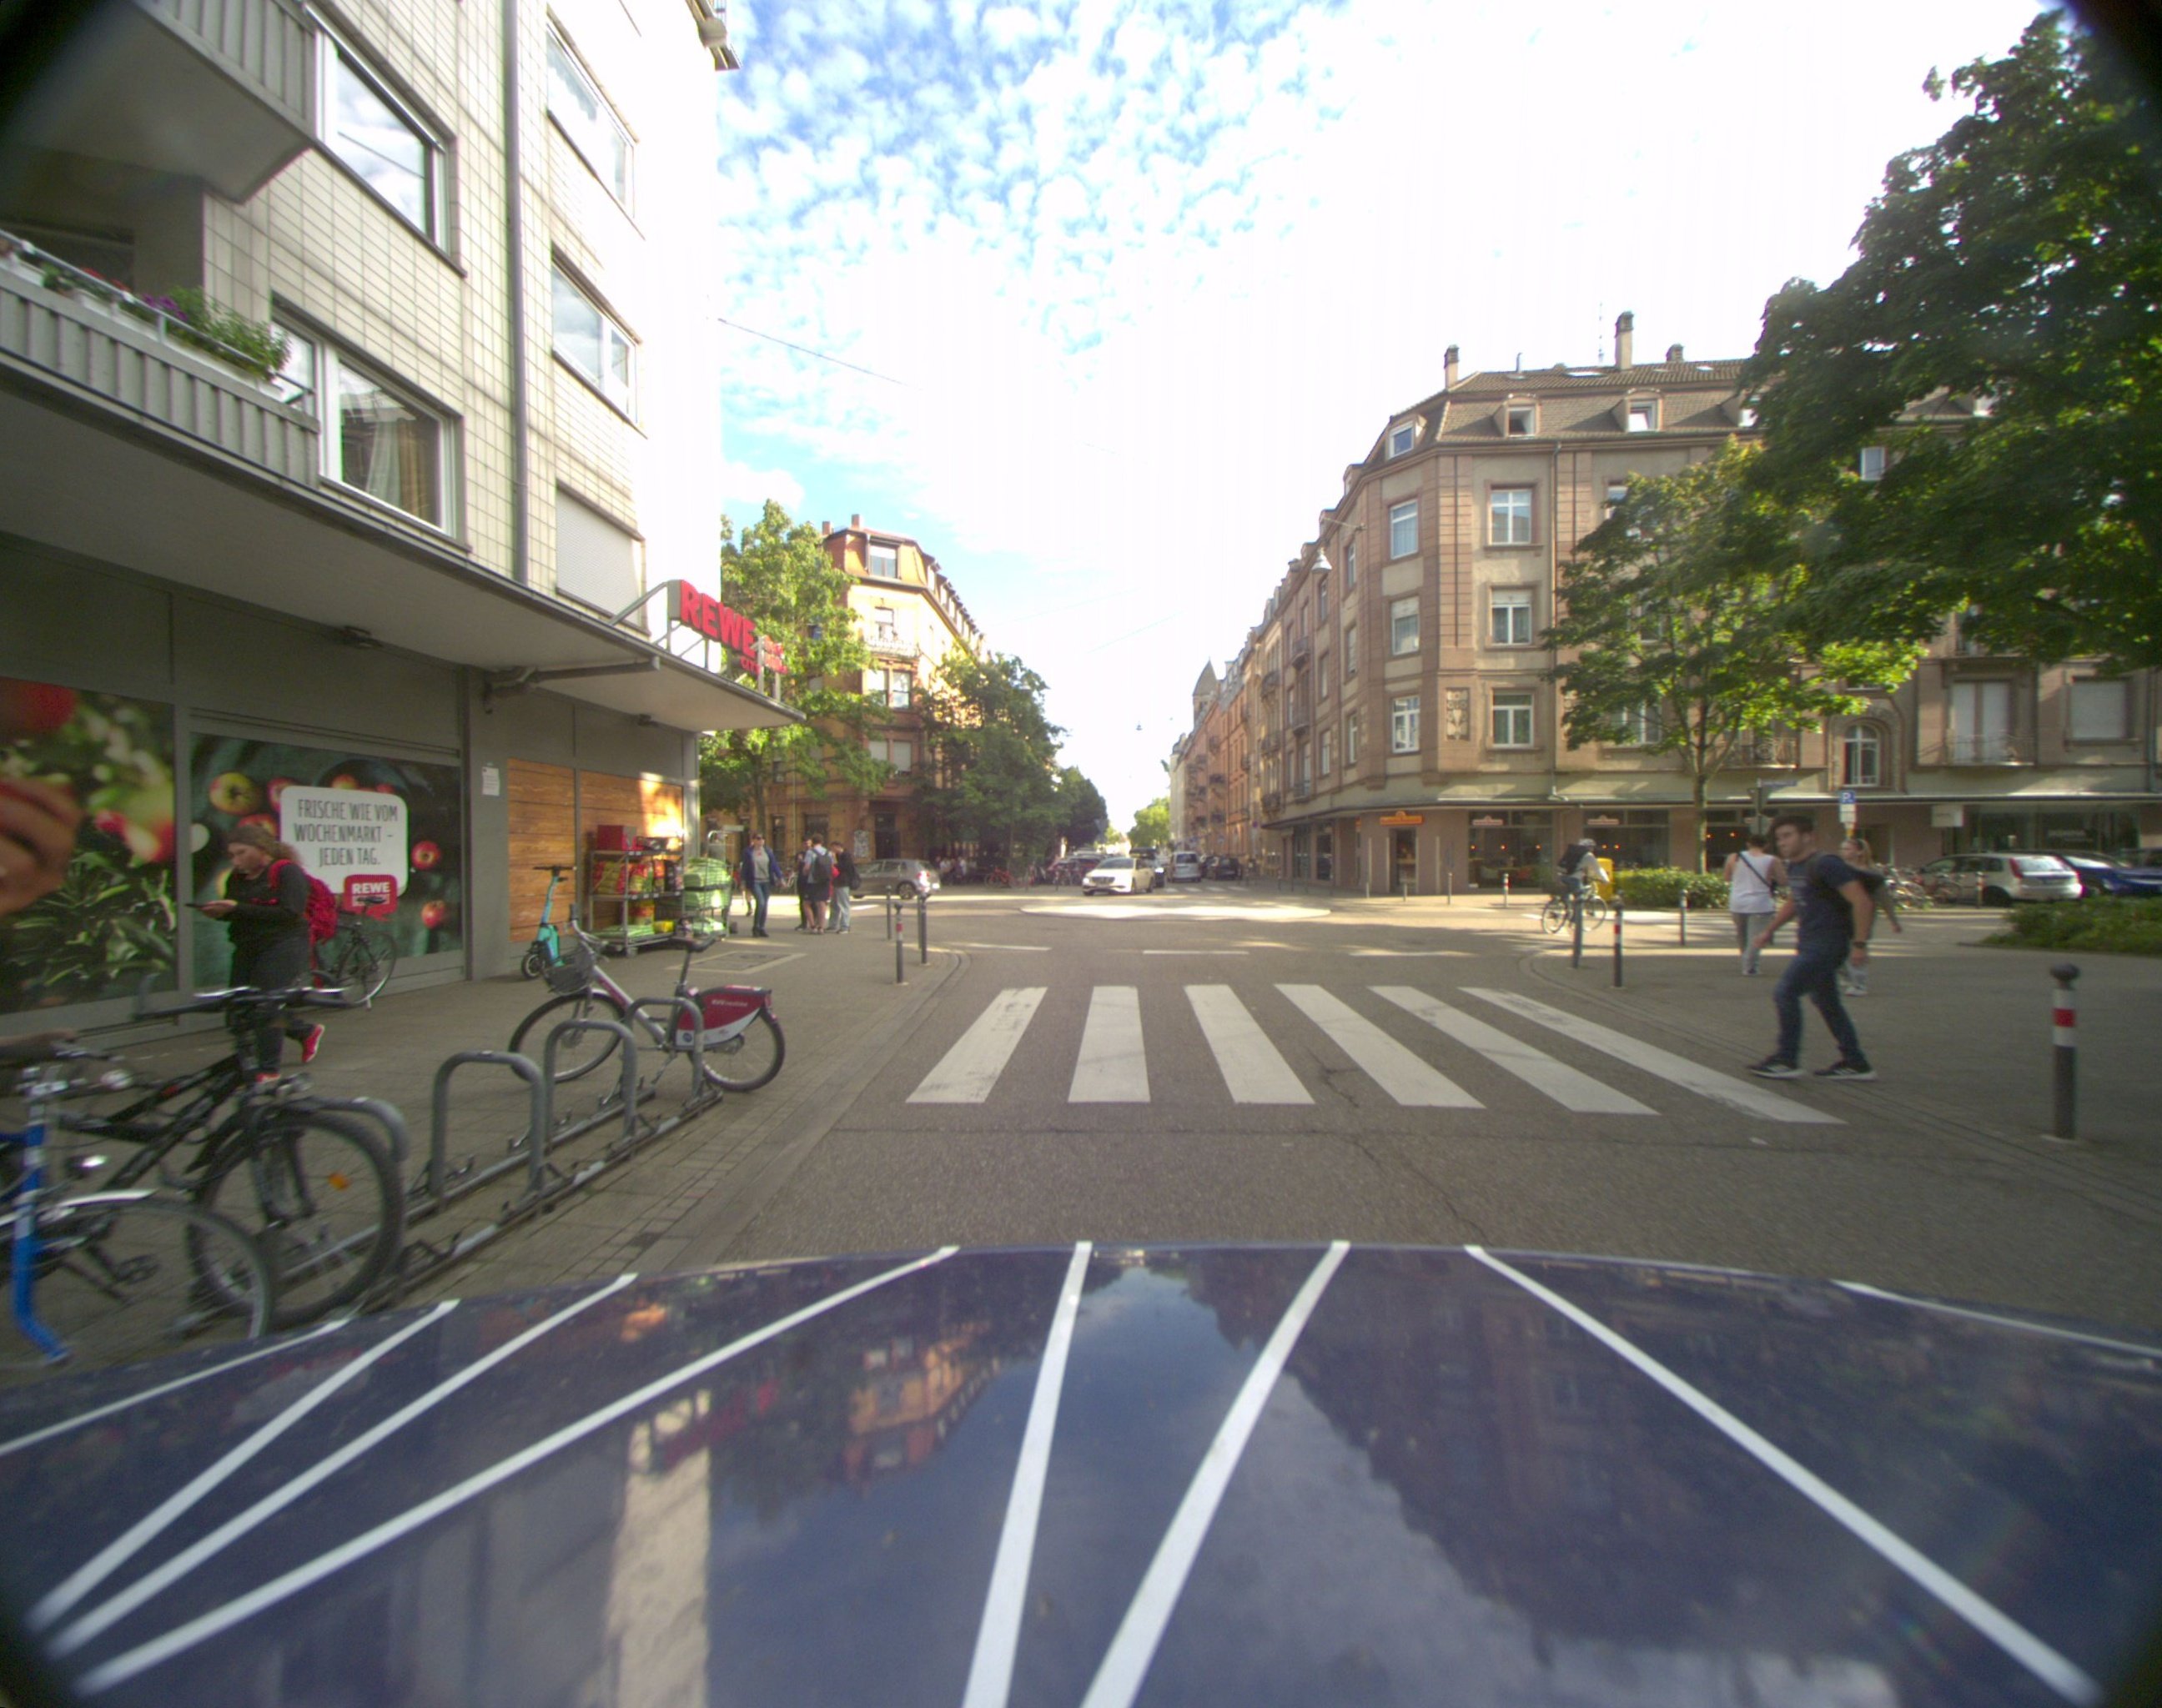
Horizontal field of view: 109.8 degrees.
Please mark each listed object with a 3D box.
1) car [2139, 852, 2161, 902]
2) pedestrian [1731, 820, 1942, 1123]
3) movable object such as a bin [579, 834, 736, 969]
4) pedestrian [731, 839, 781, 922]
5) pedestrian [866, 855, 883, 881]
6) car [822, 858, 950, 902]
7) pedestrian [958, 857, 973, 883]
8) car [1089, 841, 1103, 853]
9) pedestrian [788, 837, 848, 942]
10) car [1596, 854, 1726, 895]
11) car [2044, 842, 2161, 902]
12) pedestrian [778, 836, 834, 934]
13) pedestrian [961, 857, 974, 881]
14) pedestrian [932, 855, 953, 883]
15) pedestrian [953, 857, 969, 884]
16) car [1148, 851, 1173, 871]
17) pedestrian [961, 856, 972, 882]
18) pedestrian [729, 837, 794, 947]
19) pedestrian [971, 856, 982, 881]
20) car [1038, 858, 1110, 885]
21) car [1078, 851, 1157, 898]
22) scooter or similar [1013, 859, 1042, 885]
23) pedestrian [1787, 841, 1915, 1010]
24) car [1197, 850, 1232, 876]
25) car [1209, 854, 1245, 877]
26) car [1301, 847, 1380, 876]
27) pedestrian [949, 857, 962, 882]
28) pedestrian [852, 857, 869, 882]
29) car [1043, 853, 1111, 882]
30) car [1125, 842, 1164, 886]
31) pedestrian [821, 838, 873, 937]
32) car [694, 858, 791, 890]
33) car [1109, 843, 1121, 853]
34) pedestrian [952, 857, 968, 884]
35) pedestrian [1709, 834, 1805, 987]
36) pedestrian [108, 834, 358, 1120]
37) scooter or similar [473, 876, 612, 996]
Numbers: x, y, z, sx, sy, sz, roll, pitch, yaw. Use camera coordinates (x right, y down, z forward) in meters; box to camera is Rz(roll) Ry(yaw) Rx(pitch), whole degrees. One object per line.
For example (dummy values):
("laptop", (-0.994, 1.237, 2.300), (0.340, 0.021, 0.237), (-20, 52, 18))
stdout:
("car", (32.168, 0.662, 20.967), (1.375, 1.434, 3.340), (-2, 0, 4))
("pedestrian", (4.993, 0.715, 5.087), (0.855, 1.830, 0.680), (-2, 2, 32))
("movable object such as a bin", (-6.009, 0.604, 10.998), (0.781, 1.734, 2.423), (-1, 0, 3))
("pedestrian", (-7.468, 0.582, 17.445), (0.888, 1.824, 1.044), (1, 1, -30))
("pedestrian", (-10.606, 0.715, 38.946), (0.510, 1.252, 0.643), (2, 4, 35))
("car", (-6.853, 0.901, 26.975), (3.995, 1.430, 1.798), (-1, 1, 6))
("pedestrian", (-5.756, 0.795, 37.898), (0.729, 1.307, 0.607), (-2, 0, -9))
("car", (2.236, -1.012, 115.405), (1.850, 1.724, 3.999), (-2, 0, -2))
("pedestrian", (-4.688, 0.618, 13.540), (0.712, 1.786, 0.634), (2, 0, 36))
("car", (22.544, 0.761, 29.741), (1.766, 1.421, 3.998), (-2, 0, -6))
("car", (29.782, 0.478, 21.077), (1.575, 1.587, 3.700), (-2, 0, 4))
("pedestrian", (-5.179, 0.574, 14.336), (0.654, 1.786, 0.660), (2, 0, 16))
("pedestrian", (-5.943, 0.785, 39.744), (0.549, 1.225, 0.620), (-1, 2, -21))
("pedestrian", (-6.809, 0.728, 37.311), (0.715, 1.371, 0.671), (0, 2, 38))
("pedestrian", (-5.870, 0.797, 37.229), (0.729, 1.307, 0.520), (-2, 0, -9))
("car", (6.728, 0.613, 64.376), (1.998, 1.624, 4.846), (0, -1, 5))
("pedestrian", (-6.108, 0.797, 40.522), (0.467, 1.320, 0.620), (-1, 2, -21))
("pedestrian", (-5.285, 0.607, 12.620), (0.765, 1.743, 0.930), (-1, 0, -8))
("pedestrian", (-5.530, 0.773, 40.287), (0.467, 1.320, 0.620), (-1, 2, -21))
("car", (-0.380, 0.950, 41.808), (3.592, 1.372, 1.510), (2, 0, -22))
("car", (1.508, 0.720, 29.442), (1.941, 1.588, 4.841), (0, 1, 16))
("scooter or similar", (-2.502, 0.865, 35.535), (1.289, 1.203, 0.557), (-1, -2, 28))
("pedestrian", (7.634, 0.678, 7.540), (0.811, 1.568, 0.614), (-1, -2, -29))
("car", (9.071, 0.580, 51.861), (1.861, 1.575, 4.399), (-2, 1, 4))
("car", (8.964, 0.685, 46.891), (1.723, 1.360, 3.830), (-2, 0, 4))
("car", (15.683, 0.449, 46.013), (3.999, 1.611, 1.999), (-2, 0, -6))
("pedestrian", (-6.534, 0.807, 39.661), (0.549, 1.293, 0.620), (-1, 2, -21))
("pedestrian", (-11.131, 0.767, 38.351), (0.510, 1.218, 0.643), (2, 4, 35))
("car", (-0.219, 0.777, 43.814), (3.591, 1.606, 1.511), (2, 0, -20))
("car", (3.140, 0.471, 37.214), (1.791, 2.051, 4.002), (-1, 0, 6))
("pedestrian", (-4.350, 0.621, 14.124), (0.716, 1.786, 0.631), (3, 0, -32))
("car", (-16.172, 0.939, 36.498), (1.564, 1.263, 4.118), (-2, 2, 26))
("car", (6.717, -1.098, 150.138), (1.998, 1.877, 4.002), (-2, 0, 5))
("pedestrian", (-5.834, 0.794, 36.712), (0.729, 1.307, 0.520), (-2, 0, -9))
("pedestrian", (7.917, 0.612, 8.890), (0.802, 1.661, 1.024), (0, 1, 43))
("pedestrian", (-5.214, 0.707, 4.723), (0.724, 1.623, 0.712), (2, 0, 1))
("scooter or similar", (-6.024, 0.880, 8.585), (0.633, 1.206, 1.256), (2, 0, 1))
